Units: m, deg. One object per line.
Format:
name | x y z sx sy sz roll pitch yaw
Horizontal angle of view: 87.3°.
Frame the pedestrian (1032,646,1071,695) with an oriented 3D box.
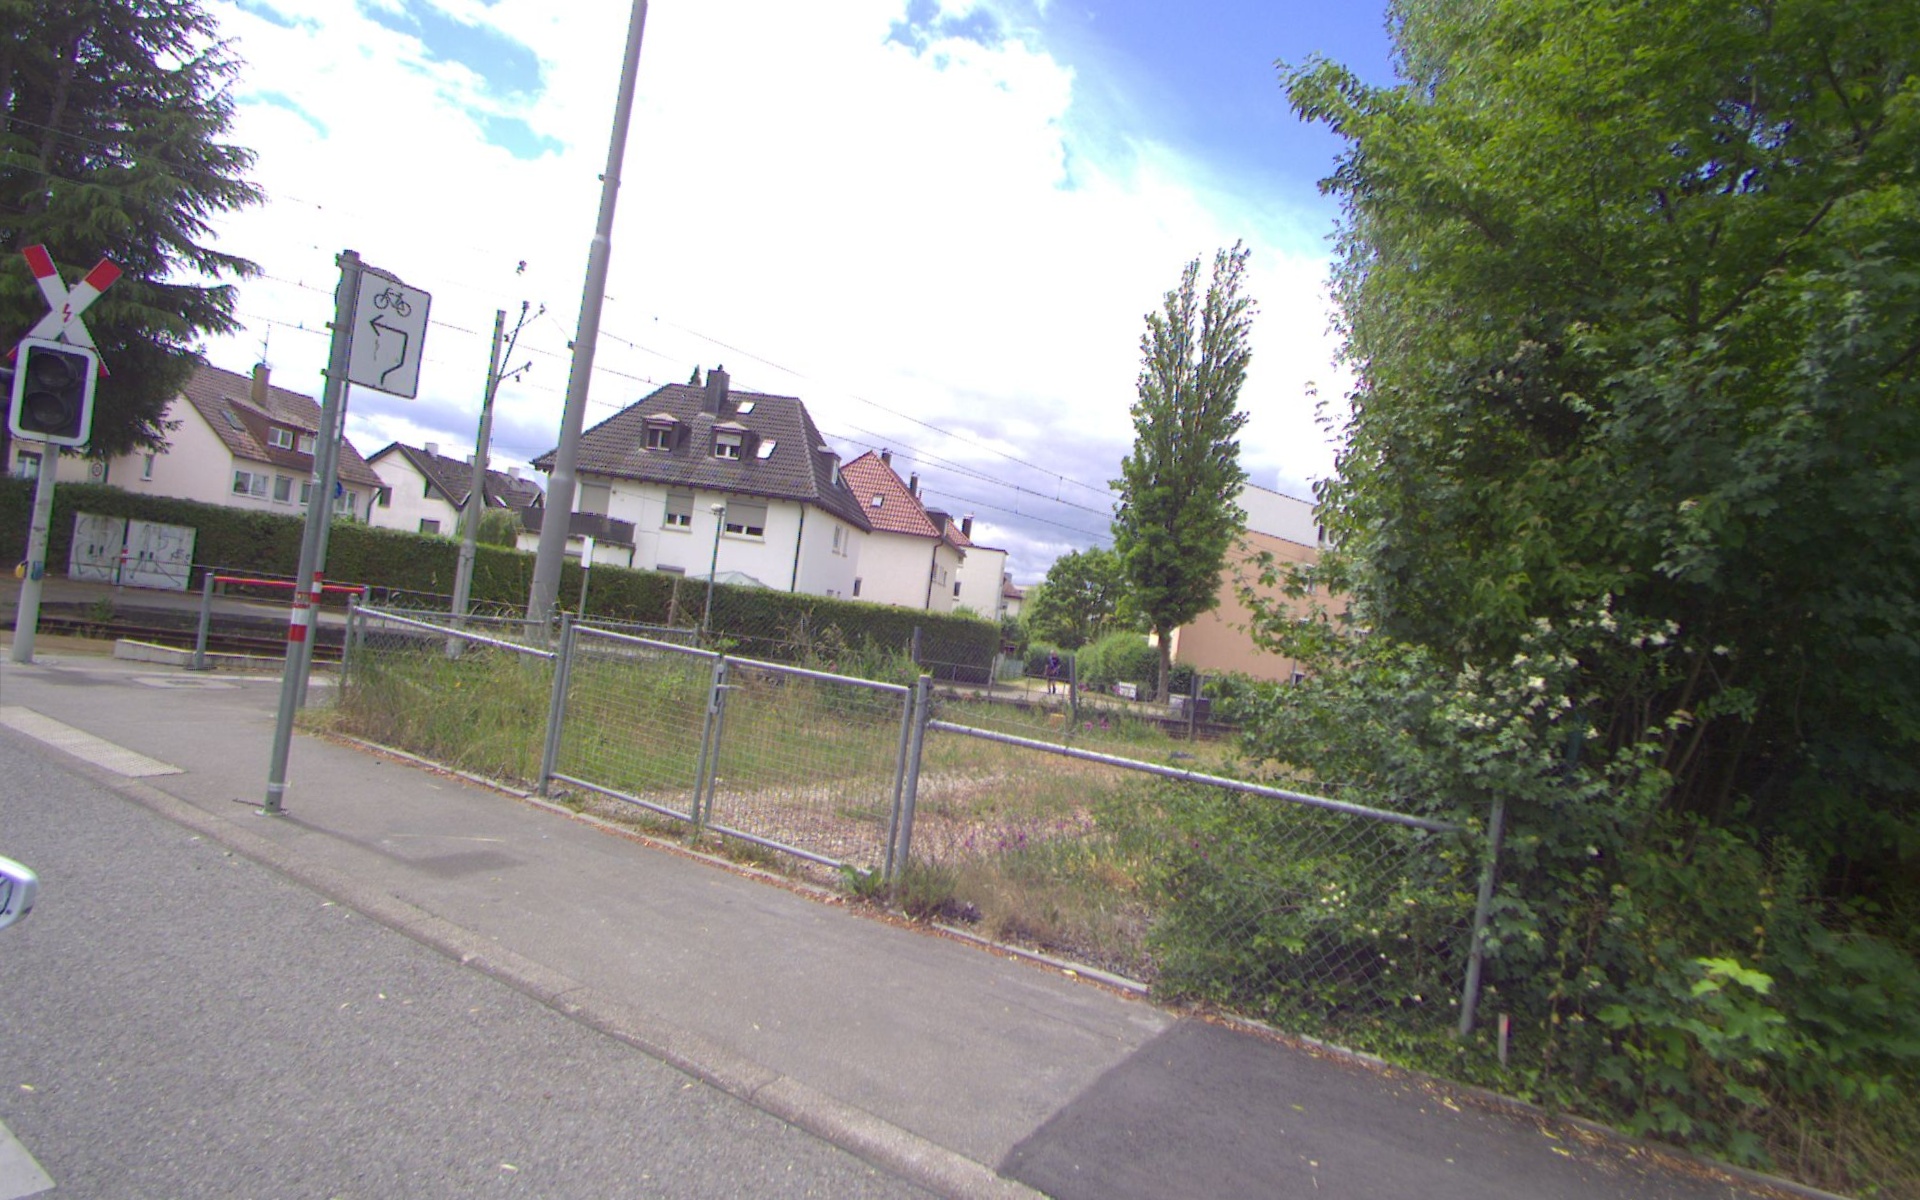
pedestrian | 3.463 2.662 37.987 0.910 1.707 0.925 7 -1 -31
